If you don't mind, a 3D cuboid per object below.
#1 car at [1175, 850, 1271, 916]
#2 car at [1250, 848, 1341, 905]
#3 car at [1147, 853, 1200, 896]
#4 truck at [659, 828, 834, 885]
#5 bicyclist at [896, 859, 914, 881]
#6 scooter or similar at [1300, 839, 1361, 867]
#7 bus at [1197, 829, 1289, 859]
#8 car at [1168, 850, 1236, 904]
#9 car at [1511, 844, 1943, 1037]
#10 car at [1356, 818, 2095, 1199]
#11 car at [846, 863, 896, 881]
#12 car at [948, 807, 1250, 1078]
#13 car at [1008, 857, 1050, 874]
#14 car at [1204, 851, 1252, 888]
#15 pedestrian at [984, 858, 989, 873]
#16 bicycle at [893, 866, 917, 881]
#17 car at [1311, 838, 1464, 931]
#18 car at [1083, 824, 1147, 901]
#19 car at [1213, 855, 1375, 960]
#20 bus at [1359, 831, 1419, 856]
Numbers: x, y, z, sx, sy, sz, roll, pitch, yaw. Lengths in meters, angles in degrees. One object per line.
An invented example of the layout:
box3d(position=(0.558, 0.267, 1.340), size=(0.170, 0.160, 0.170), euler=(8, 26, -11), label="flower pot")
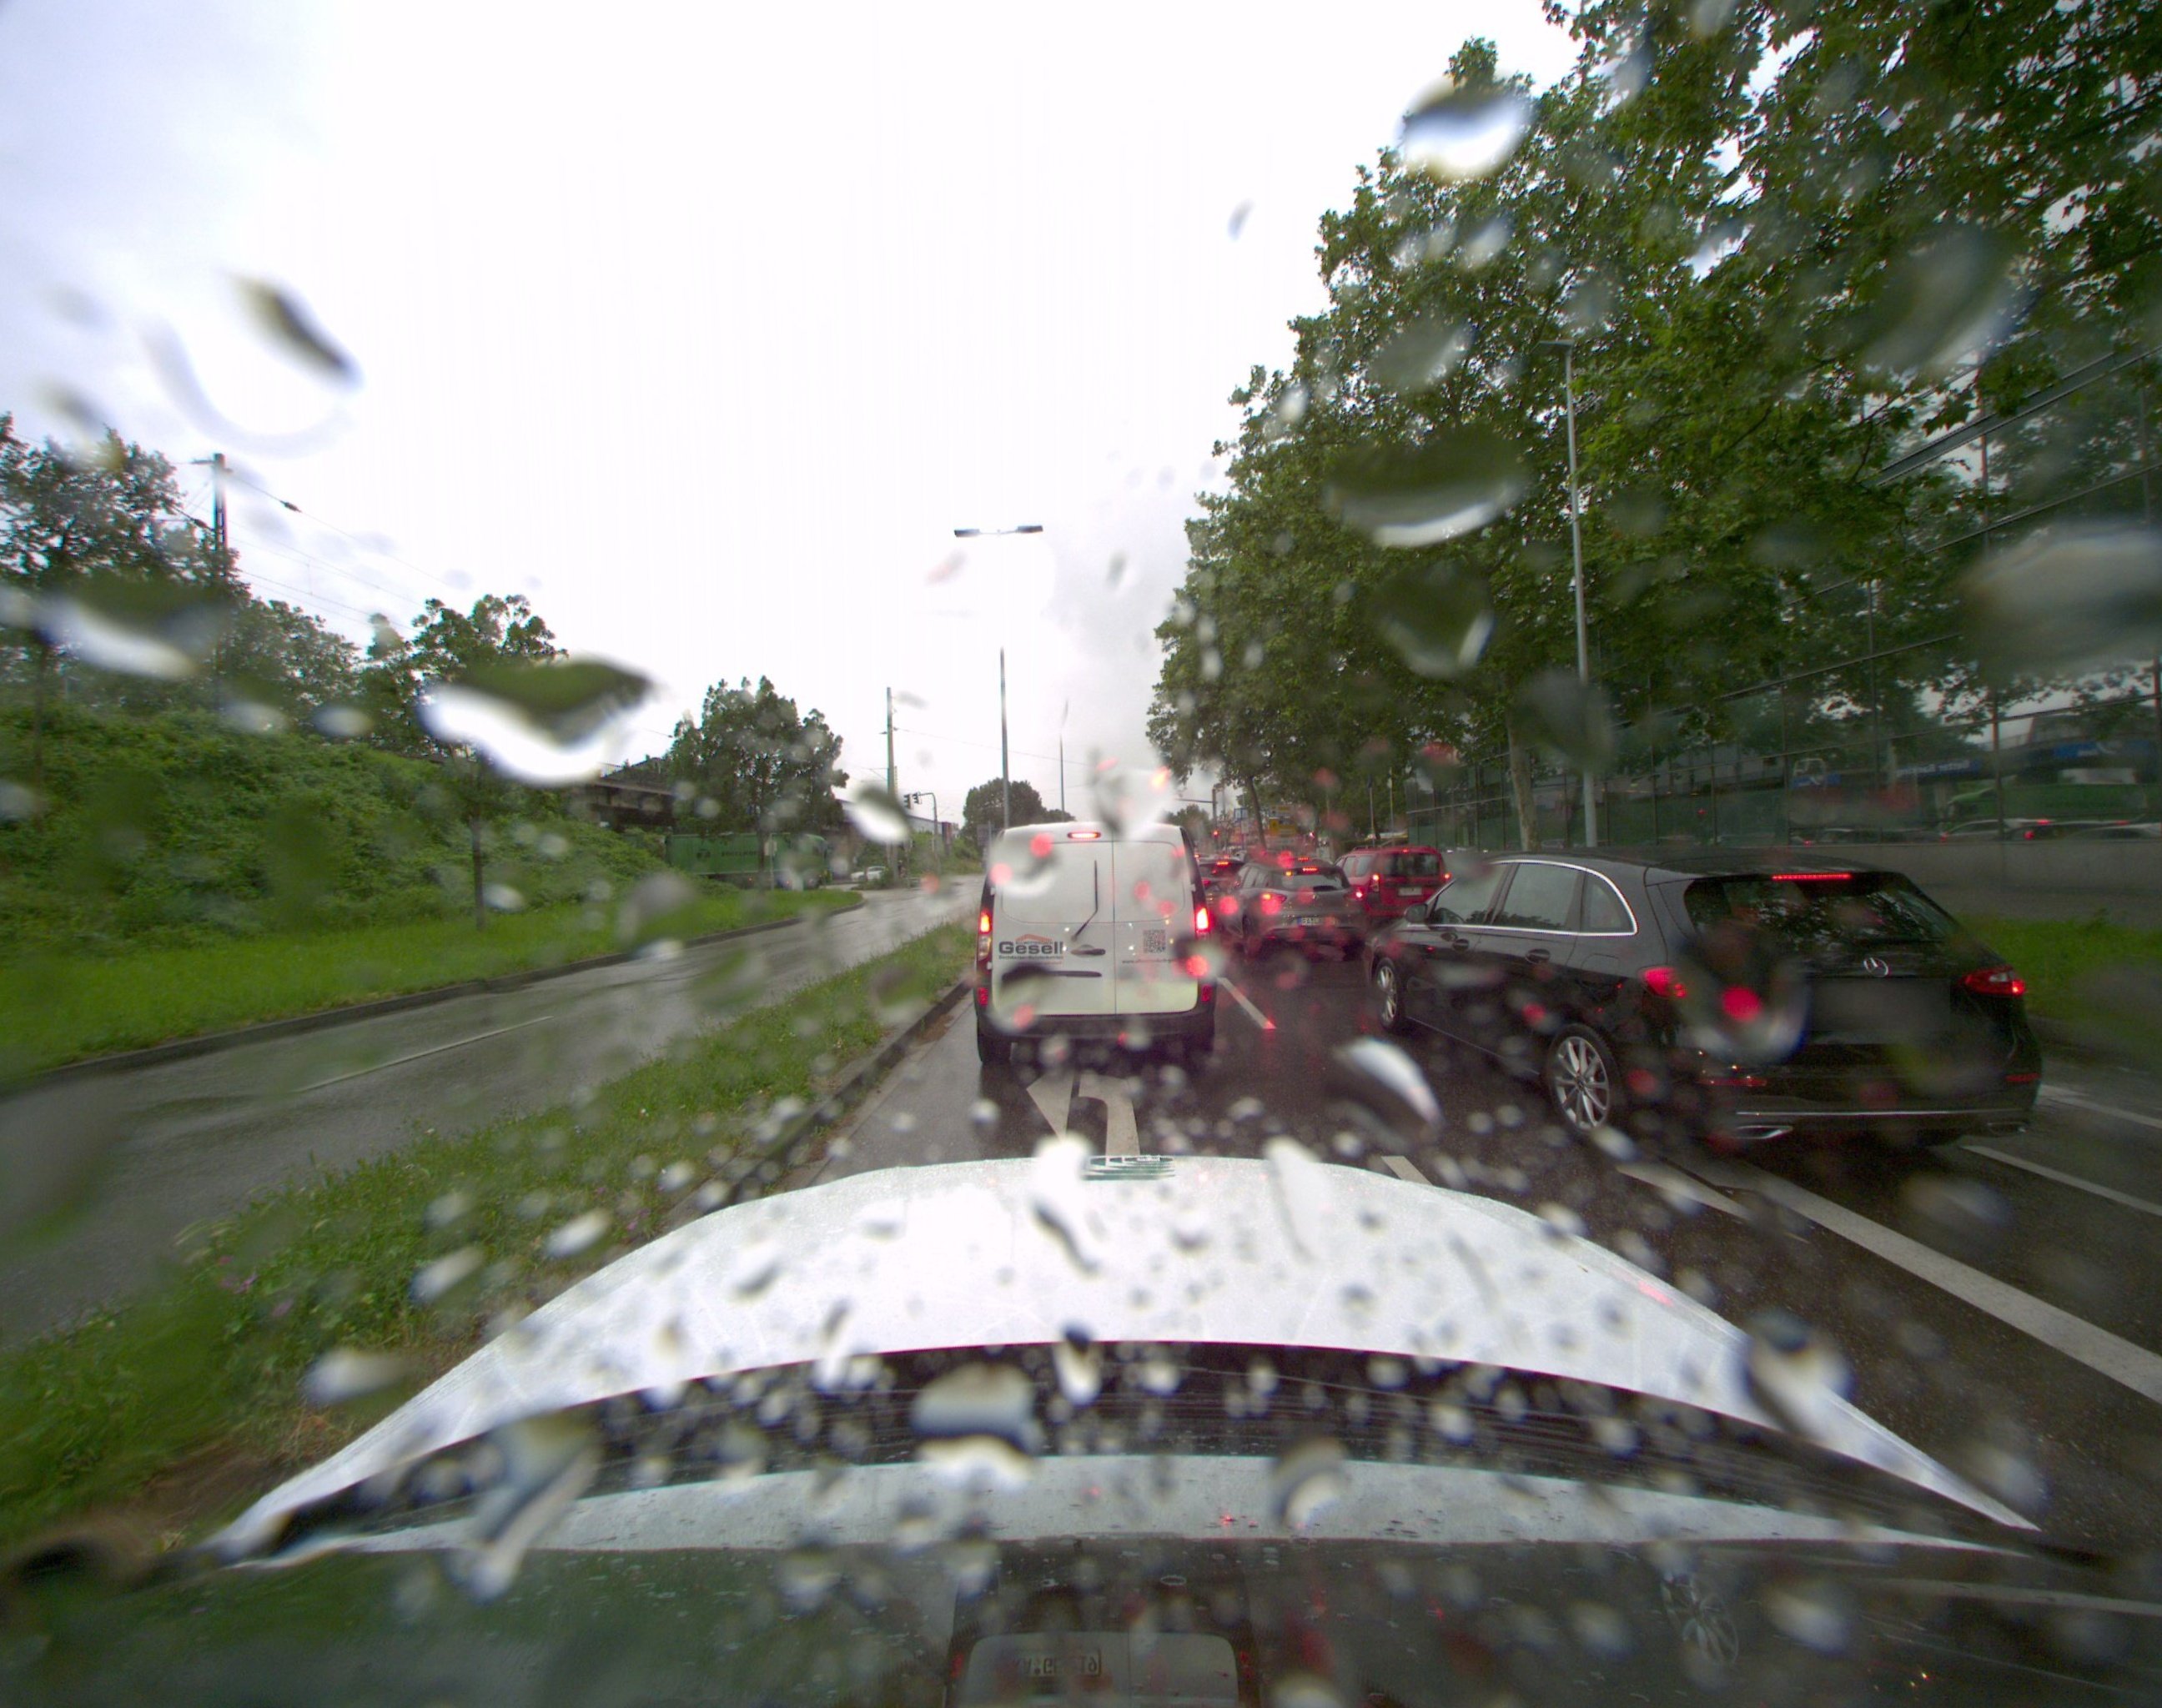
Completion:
box3d(position=(3.500, 0.663, 20.675), size=(1.847, 1.460, 3.844), euler=(-1, 0, 2), label="car")
box3d(position=(6.532, 0.623, 25.173), size=(1.869, 1.613, 4.002), euler=(0, 0, 2), label="car")
box3d(position=(3.752, 0.811, 33.568), size=(1.847, 1.650, 3.844), euler=(-1, -1, 2), label="car")
box3d(position=(-21.312, 0.073, 52.360), size=(10.105, 3.371, 2.322), euler=(-2, 0, -35), label="truck")
box3d(position=(-12.098, 1.081, 55.924), size=(1.045, 1.450, 0.723), euler=(-2, 0, -23), label="bicyclist")
box3d(position=(23.444, -0.079, 76.680), size=(1.905, 2.446, 5.257), euler=(-1, 0, -39), label="scooter or similar")
box3d(position=(21.884, -1.351, 110.585), size=(11.926, 3.423, 2.316), euler=(-2, 0, 1), label="bus")
box3d(position=(4.057, 0.726, 27.894), size=(1.847, 1.649, 3.844), euler=(-1, 0, 2), label="car")
box3d(position=(5.867, 0.664, 7.966), size=(1.563, 1.462, 3.390), euler=(-1, 0, 1), label="car")
box3d(position=(3.375, 0.645, 5.443), size=(1.741, 1.554, 4.091), euler=(-1, 0, 1), label="car")
box3d(position=(-20.286, 1.712, 78.672), size=(4.265, 1.596, 1.979), euler=(-2, 0, -33), label="car")
box3d(position=(0.192, 0.586, 7.765), size=(1.986, 1.776, 4.587), euler=(-1, 0, 2), label="car")
box3d(position=(-5.616, 1.206, 88.165), size=(4.016, 1.717, 1.979), euler=(-1, 0, -34), label="car")
box3d(position=(6.902, 0.709, 38.607), size=(1.702, 1.650, 3.844), euler=(-1, -1, 2), label="car")
box3d(position=(-11.251, 1.363, 96.654), size=(0.541, 1.716, 0.563), euler=(0, -1, -2), label="pedestrian")
box3d(position=(-12.124, 1.327, 56.018), size=(1.045, 0.952, 2.866), euler=(-2, 0, -22), label="bicycle")
box3d(position=(6.226, 0.590, 17.091), size=(1.704, 1.694, 4.273), euler=(0, -1, 2), label="car")
box3d(position=(1.085, 0.251, 26.481), size=(1.847, 2.296, 3.844), euler=(-1, 0, 2), label="car")
box3d(position=(3.238, 0.742, 13.137), size=(1.677, 1.408, 3.844), euler=(0, 0, 1), label="car")
box3d(position=(47.545, -1.691, 125.470), size=(12.064, 3.423, 2.456), euler=(-3, 0, -36), label="bus")
